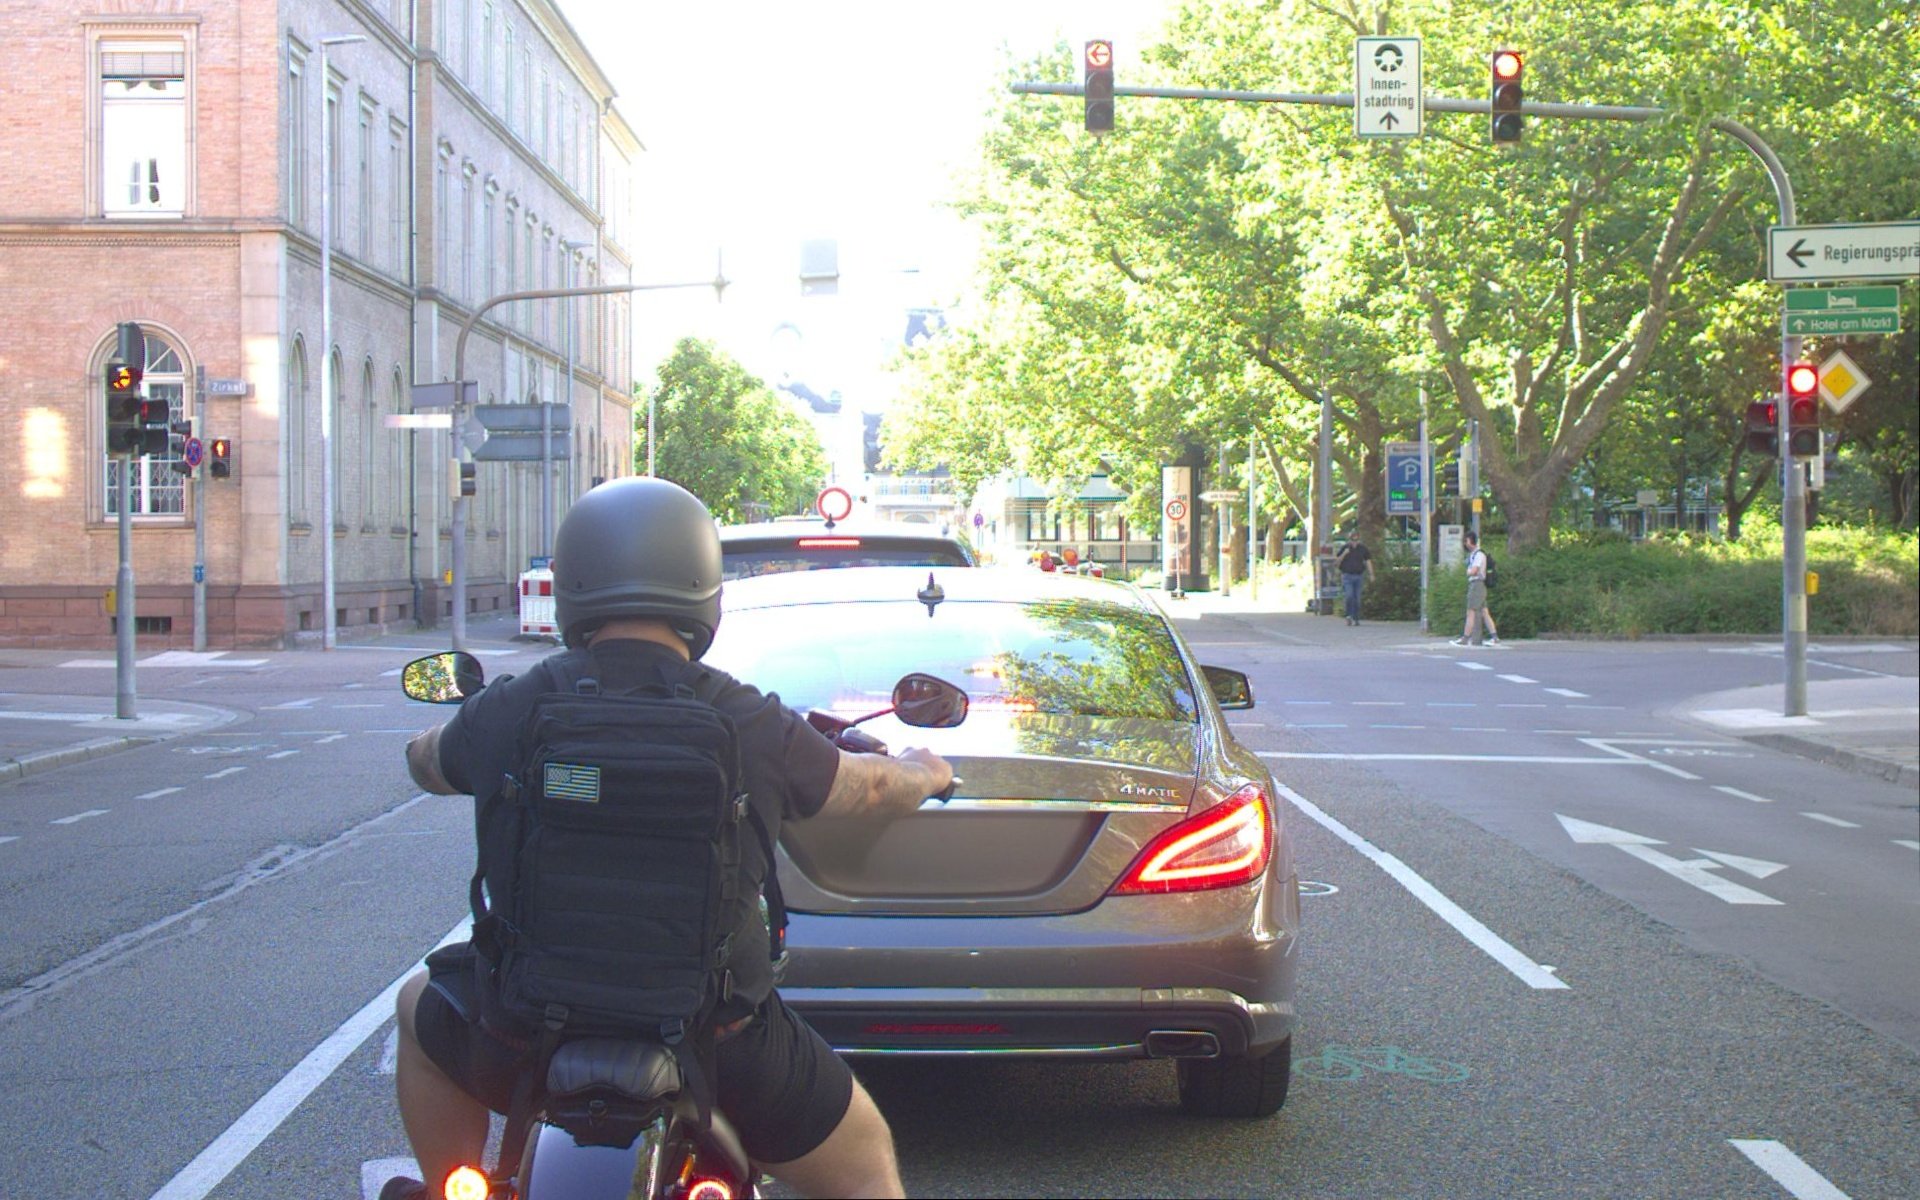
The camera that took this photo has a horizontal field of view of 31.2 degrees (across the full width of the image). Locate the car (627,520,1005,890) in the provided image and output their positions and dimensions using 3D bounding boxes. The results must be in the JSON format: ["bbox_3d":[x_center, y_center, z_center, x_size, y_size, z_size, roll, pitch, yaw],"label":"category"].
[{"bbox_3d":[-0.638,0.414,16.740,1.621,1.588,4.000,0,1,-1],"label":"car"}]

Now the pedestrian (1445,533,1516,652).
[{"bbox_3d":[8.109,-0.123,53.614,1.002,1.820,1.076,1,0,6],"label":"pedestrian"}]

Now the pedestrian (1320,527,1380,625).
[{"bbox_3d":[7.661,-0.466,67.609,0.749,1.903,0.926,1,0,-28],"label":"pedestrian"}]

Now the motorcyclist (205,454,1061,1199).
[{"bbox_3d":[-0.456,0.600,5.318,1.149,1.593,1.288,1,0,-1],"label":"motorcyclist"}]

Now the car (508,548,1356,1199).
[{"bbox_3d":[-0.084,0.599,9.624,1.882,1.444,3.820,1,1,-1],"label":"car"}]

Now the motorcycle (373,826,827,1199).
[{"bbox_3d":[-0.497,0.931,5.340,0.513,0.999,2.013,1,1,-1],"label":"motorcycle"}]

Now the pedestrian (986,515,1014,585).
[{"bbox_3d":[1.168,-1.461,100.895,0.764,2.044,0.712,1,0,-1],"label":"pedestrian"}]
